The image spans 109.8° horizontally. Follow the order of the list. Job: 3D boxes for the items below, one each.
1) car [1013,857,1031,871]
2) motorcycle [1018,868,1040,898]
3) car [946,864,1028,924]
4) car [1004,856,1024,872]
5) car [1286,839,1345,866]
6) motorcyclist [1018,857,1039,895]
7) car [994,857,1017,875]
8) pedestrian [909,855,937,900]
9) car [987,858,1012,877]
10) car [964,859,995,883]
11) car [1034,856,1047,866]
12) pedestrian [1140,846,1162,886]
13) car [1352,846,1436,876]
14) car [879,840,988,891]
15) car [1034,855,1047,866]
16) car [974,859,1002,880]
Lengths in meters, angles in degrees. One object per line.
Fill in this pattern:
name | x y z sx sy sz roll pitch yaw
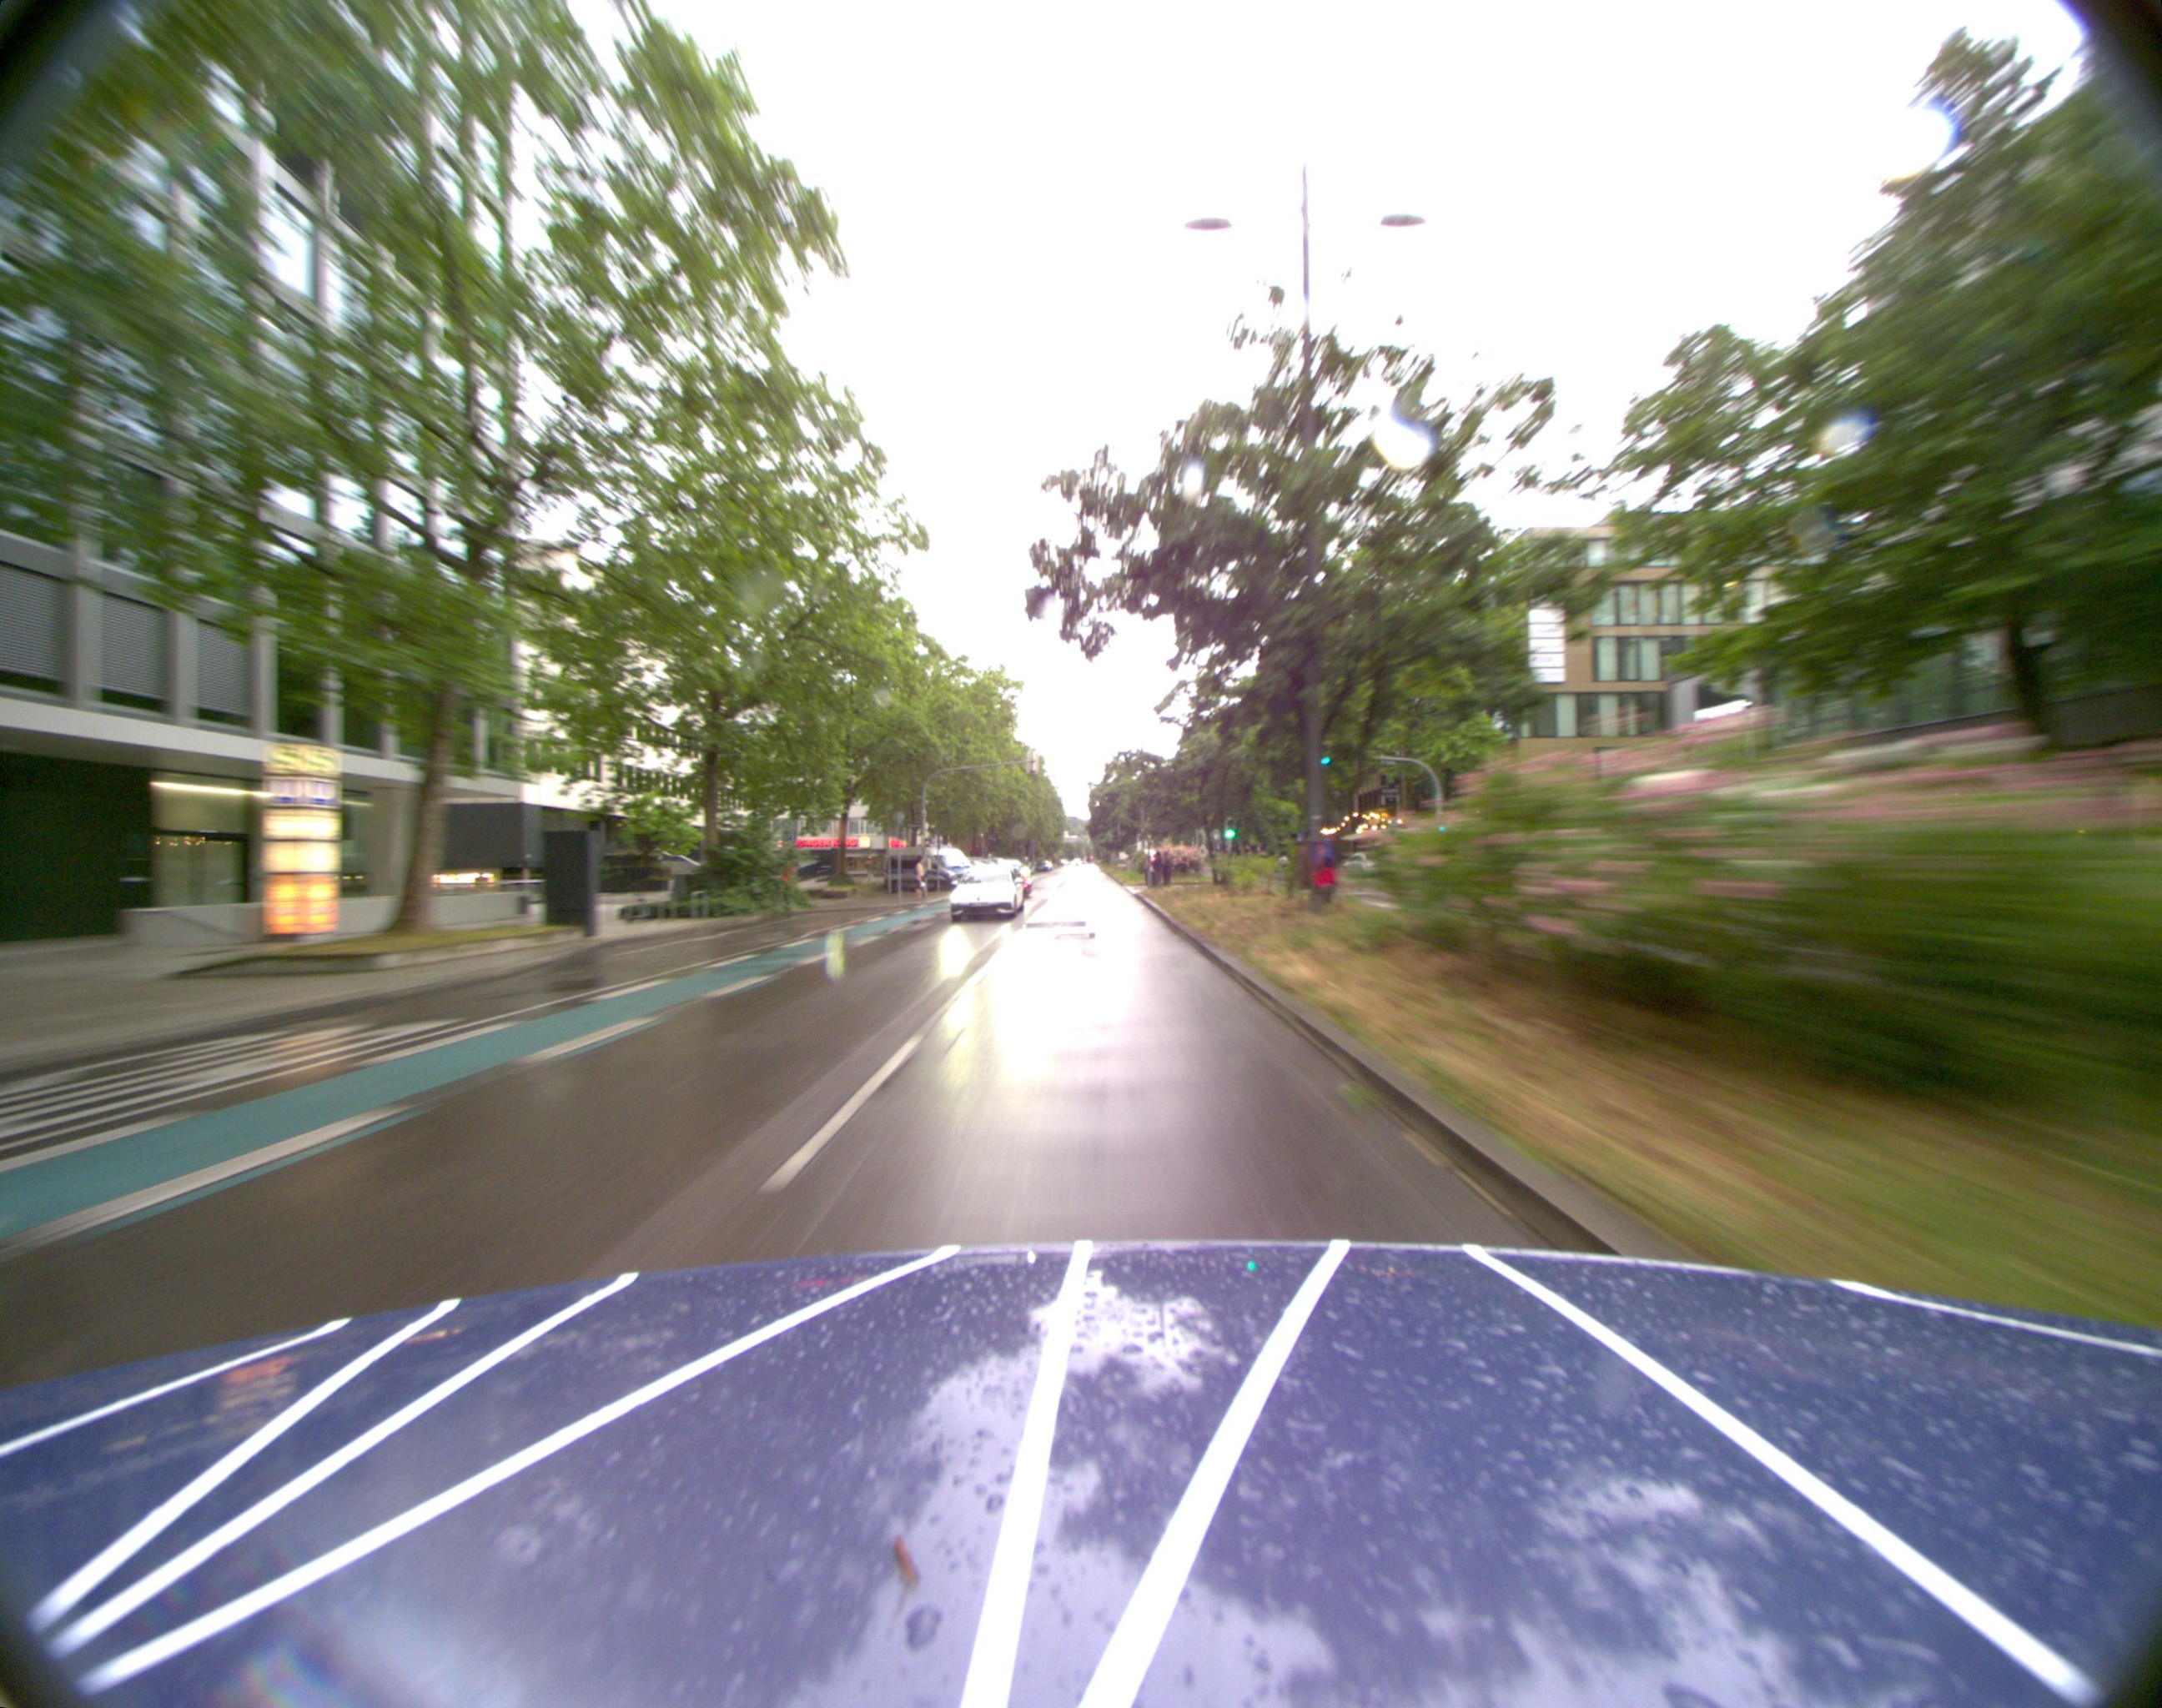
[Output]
car | -6.477 1.093 83.339 1.598 1.516 3.425 -2 0 1
motorcycle | -2.272 1.238 33.422 0.744 1.194 2.235 -2 1 1
car | -2.629 1.082 22.076 1.795 1.463 3.794 -2 0 1
car | -6.664 1.015 76.065 1.598 1.516 3.425 -2 0 1
car | 18.349 -0.115 59.584 3.998 2.002 1.887 -2 0 -2
motorcyclist | -2.284 0.947 33.209 0.744 1.575 1.059 -2 1 1
car | -6.592 1.058 66.784 1.598 1.516 3.425 -2 0 1
pedestrian | -6.696 1.002 32.172 0.891 1.839 0.721 -2 1 8
car | -6.727 1.084 62.846 1.598 1.506 3.425 -2 0 1
car | -7.039 1.171 53.065 1.598 1.516 3.425 -2 0 1
car | -6.062 1.052 113.904 1.598 1.516 3.425 -2 0 1
pedestrian | 3.356 0.567 36.495 0.892 1.839 0.787 -2 1 -3
car | 17.952 0.401 43.663 3.997 1.586 1.888 -2 0 -1
car | -8.433 0.688 43.104 6.268 2.665 2.326 -2 1 36
car | -5.781 0.975 108.658 1.598 1.516 3.425 -2 0 1
car | -6.981 1.133 57.018 1.598 1.516 3.425 -2 0 1
